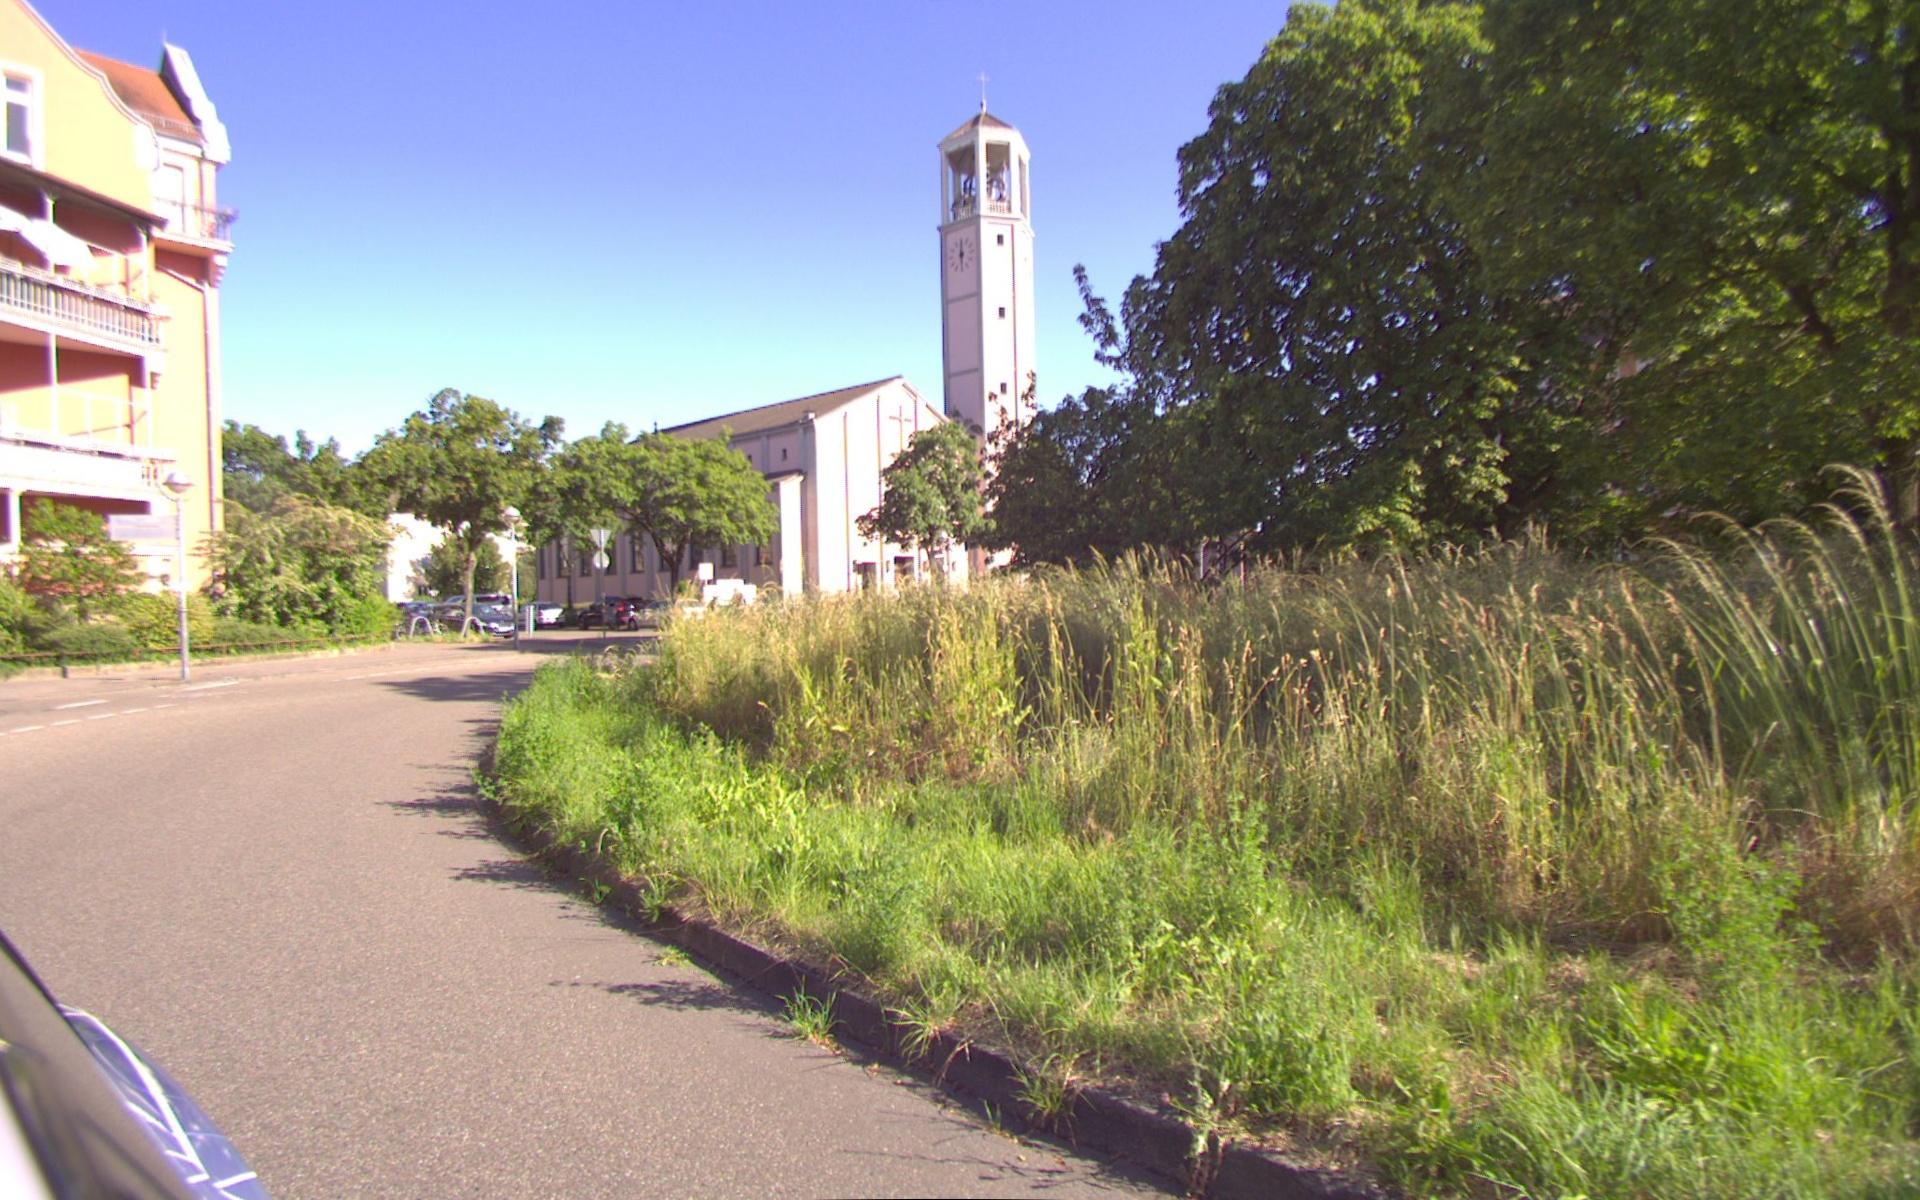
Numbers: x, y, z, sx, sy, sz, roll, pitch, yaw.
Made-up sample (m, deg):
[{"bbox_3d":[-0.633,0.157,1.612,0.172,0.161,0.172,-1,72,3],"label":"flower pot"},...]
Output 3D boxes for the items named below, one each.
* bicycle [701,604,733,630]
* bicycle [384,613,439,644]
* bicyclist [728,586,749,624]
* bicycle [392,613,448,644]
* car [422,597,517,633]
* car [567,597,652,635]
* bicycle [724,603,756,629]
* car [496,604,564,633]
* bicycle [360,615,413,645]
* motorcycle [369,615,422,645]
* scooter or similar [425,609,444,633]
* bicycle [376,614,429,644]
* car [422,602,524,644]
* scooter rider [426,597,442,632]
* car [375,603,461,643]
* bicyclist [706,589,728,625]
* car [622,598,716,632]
[{"bbox_3d":[-10.921,0.776,45.527,0.586,1.116,1.866,-2,1,-40],"label":"bicycle"},{"bbox_3d":[-20.248,1.063,37.379,0.546,1.123,1.703,-1,-2,40],"label":"bicycle"},{"bbox_3d":[-10.194,0.221,46.563,0.636,1.727,0.724,-2,1,-43],"label":"bicyclist"},{"bbox_3d":[-19.614,1.027,36.785,0.546,1.123,1.703,-1,-2,40],"label":"bicycle"},{"bbox_3d":[-28.871,0.861,59.696,1.806,2.016,4.721,-2,-1,36],"label":"car"},{"bbox_3d":[-16.993,0.782,48.984,4.330,1.741,1.788,-2,-1,36],"label":"car"},{"bbox_3d":[-10.117,0.732,46.503,0.636,1.116,1.719,-2,1,-42],"label":"bicycle"},{"bbox_3d":[-23.024,1.018,54.067,4.339,1.485,1.784,-2,-1,44],"label":"car"},{"bbox_3d":[-21.959,1.140,38.782,0.499,1.115,1.707,-1,-2,33],"label":"bicycle"},{"bbox_3d":[-21.467,1.126,38.502,0.499,1.115,1.707,-1,-2,33],"label":"motorcycle"},{"bbox_3d":[-28.581,1.125,55.005,0.623,1.292,1.107,-1,0,-43],"label":"scooter or similar"},{"bbox_3d":[-20.957,1.081,38.062,0.498,1.115,1.814,-1,-2,24],"label":"bicycle"},{"bbox_3d":[-19.595,0.933,40.686,4.329,1.494,1.788,-1,2,36],"label":"car"},{"bbox_3d":[-28.595,0.794,55.018,0.616,1.846,0.632,-1,0,-43],"label":"scooter rider"},{"bbox_3d":[-23.889,0.979,44.541,4.396,1.573,1.786,-1,2,40],"label":"car"},{"bbox_3d":[-10.926,0.318,45.513,0.586,1.593,0.805,-2,1,-40],"label":"bicyclist"},{"bbox_3d":[-13.064,0.669,45.345,4.330,1.426,1.788,-2,-1,36],"label":"car"}]
